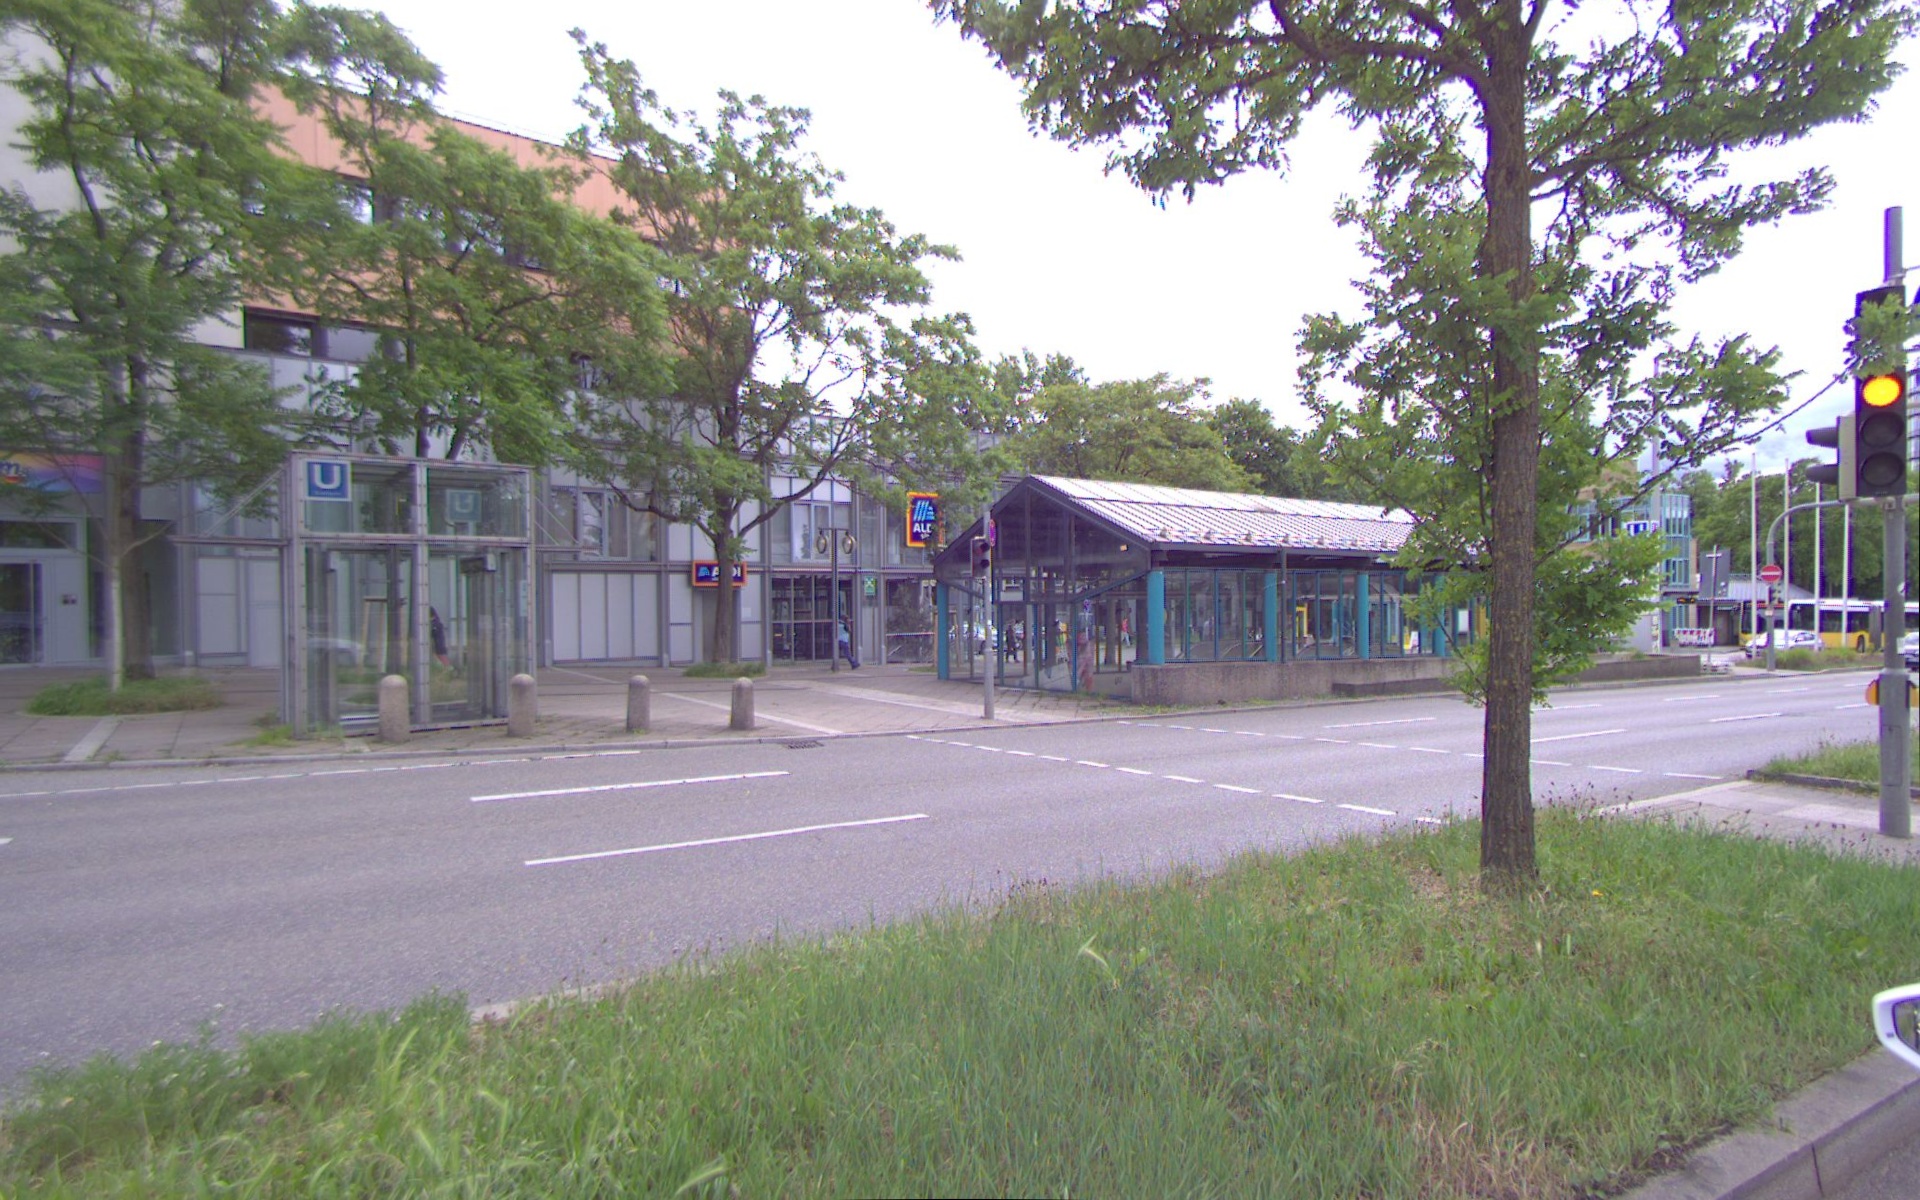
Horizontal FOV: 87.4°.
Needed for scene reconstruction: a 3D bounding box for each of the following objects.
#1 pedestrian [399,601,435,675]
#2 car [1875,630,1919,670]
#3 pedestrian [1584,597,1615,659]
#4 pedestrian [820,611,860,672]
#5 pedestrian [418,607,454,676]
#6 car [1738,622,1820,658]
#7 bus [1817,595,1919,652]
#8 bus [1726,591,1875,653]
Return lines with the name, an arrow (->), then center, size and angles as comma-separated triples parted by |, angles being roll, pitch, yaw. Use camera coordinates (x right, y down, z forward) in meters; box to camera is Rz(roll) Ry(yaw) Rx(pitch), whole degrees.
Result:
pedestrian -> -13.146, 0.909, 24.318 | 0.674, 1.750, 0.560 | 1, -1, -39
car -> 37.788, 1.948, 39.280 | 3.955, 1.505, 1.983 | 1, -1, -32
pedestrian -> 21.473, 0.938, 33.713 | 0.639, 2.040, 0.677 | 1, -1, -34
pedestrian -> -3.566, 1.217, 29.749 | 0.879, 1.739, 0.764 | 1, 2, -39
pedestrian -> -12.548, 0.981, 24.052 | 0.674, 1.610, 0.513 | 1, -1, -39
car -> 40.074, 1.951, 49.167 | 3.951, 1.684, 1.798 | 1, -1, -29
bus -> 59.528, 1.569, 64.583 | 10.592, 3.476, 2.822 | 1, -1, -26
bus -> 50.176, 1.368, 59.884 | 10.592, 3.476, 2.822 | 1, -1, -26
